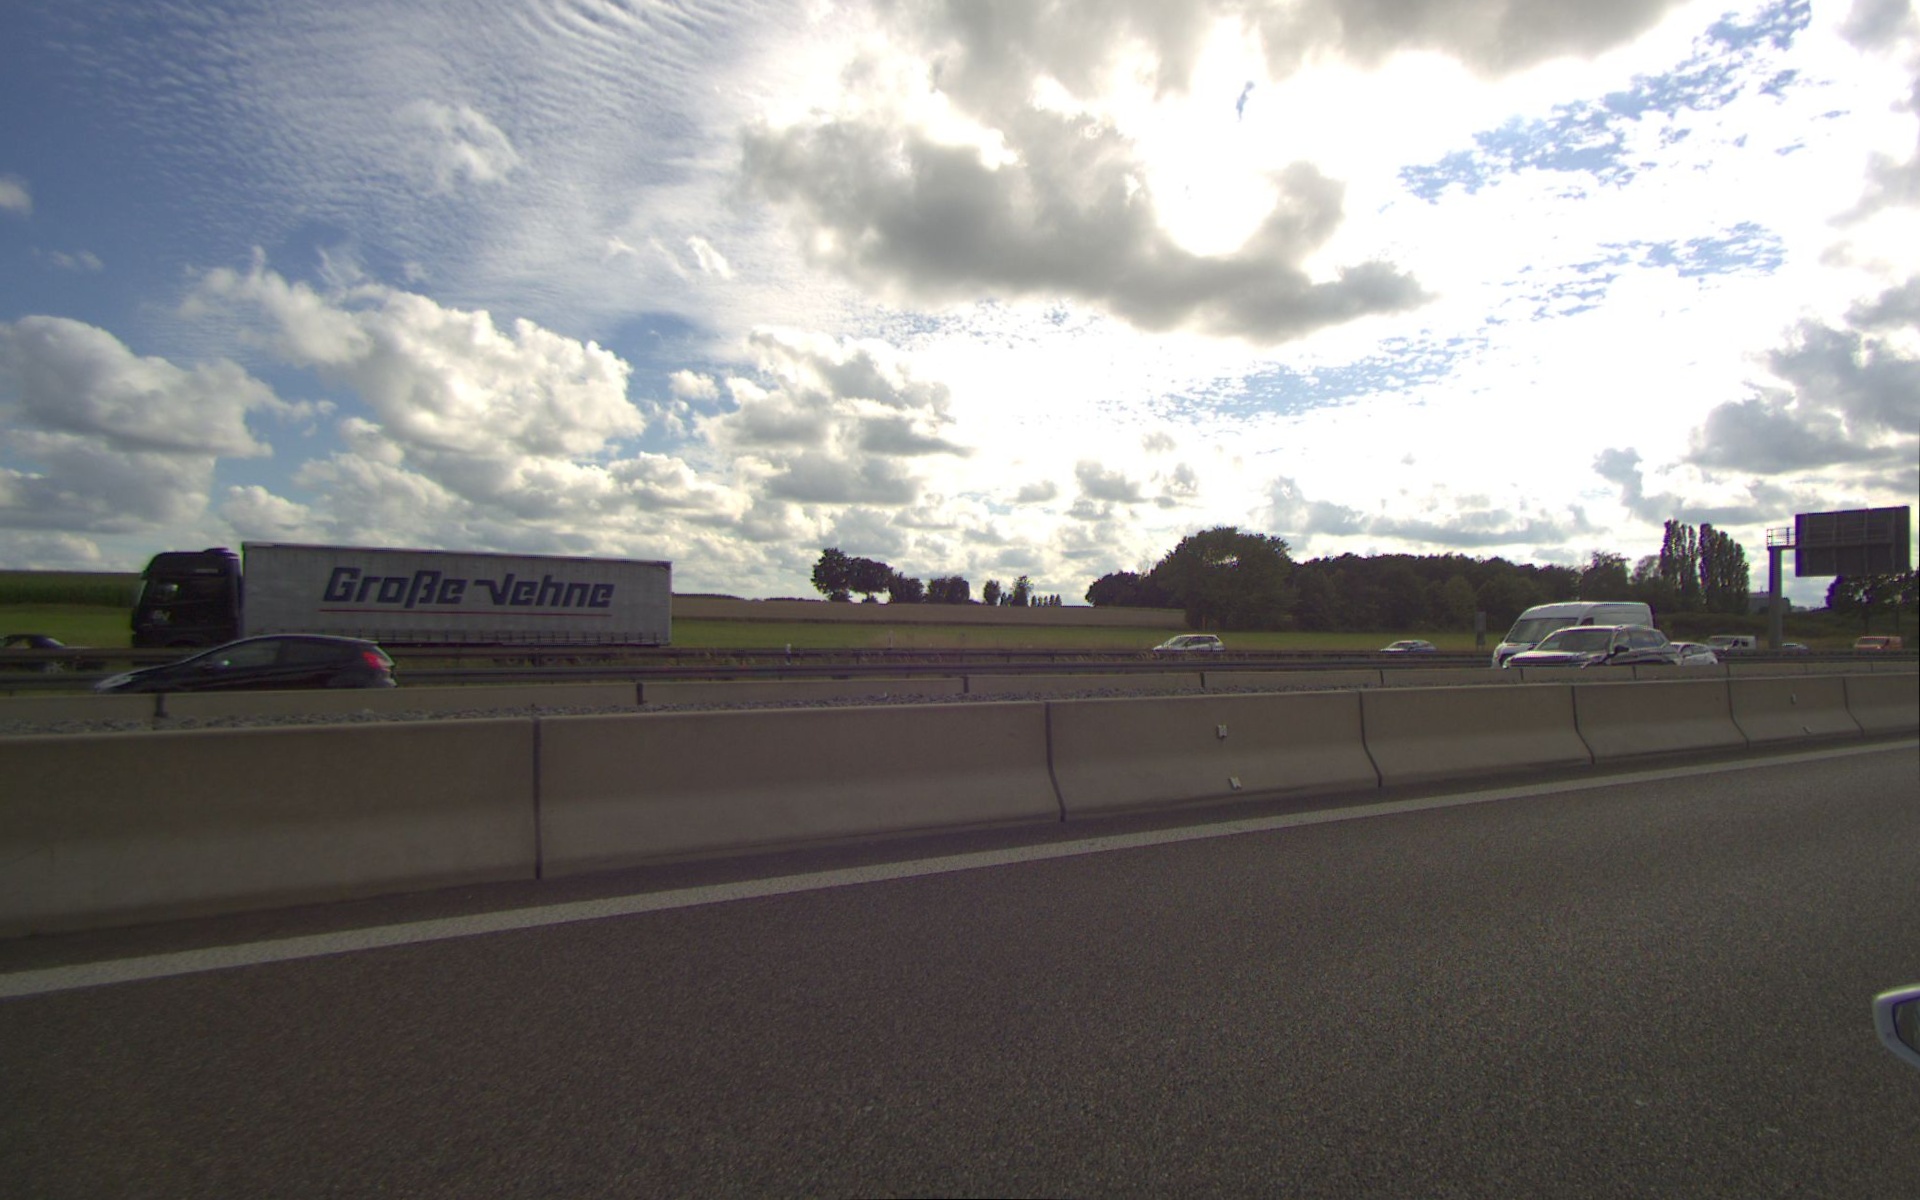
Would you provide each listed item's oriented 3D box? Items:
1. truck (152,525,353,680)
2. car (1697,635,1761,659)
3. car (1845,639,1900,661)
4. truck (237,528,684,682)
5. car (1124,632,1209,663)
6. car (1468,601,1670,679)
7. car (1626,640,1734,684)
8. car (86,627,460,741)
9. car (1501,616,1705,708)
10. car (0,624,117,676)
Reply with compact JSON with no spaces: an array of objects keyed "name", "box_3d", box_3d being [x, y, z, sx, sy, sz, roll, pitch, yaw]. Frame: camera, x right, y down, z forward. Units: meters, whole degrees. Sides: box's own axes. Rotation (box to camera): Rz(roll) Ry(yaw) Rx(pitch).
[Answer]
[{"name":"truck","box_3d":[-23.123,0.142,33.184,5.011,4.720,3.032,1,-1,-29]},{"name":"car","box_3d":[58.925,3.584,76.957,5.570,1.722,1.983,2,-1,-31]},{"name":"car","box_3d":[75.081,4.105,82.639,5.076,1.722,1.984,2,-1,-31]},{"name":"truck","box_3d":[-17.437,0.354,36.504,13.960,4.866,3.060,2,-1,-30]},{"name":"car","box_3d":[10.966,2.518,53.166,4.401,1.554,1.720,2,-1,-31]},{"name":"car","box_3d":[17.098,1.081,28.134,5.764,1.993,2.345,1,-1,-30]},{"name":"car","box_3d":[28.255,2.397,39.384,4.810,1.549,1.717,2,-1,-31]},{"name":"car","box_3d":[-10.612,1.245,15.980,4.662,1.552,1.755,1,-1,-31]},{"name":"car","box_3d":[13.833,1.266,21.541,4.648,1.754,1.755,1,0,-30]},{"name":"car","box_3d":[-25.539,1.328,27.046,4.064,1.330,1.601,1,-1,-30]}]
